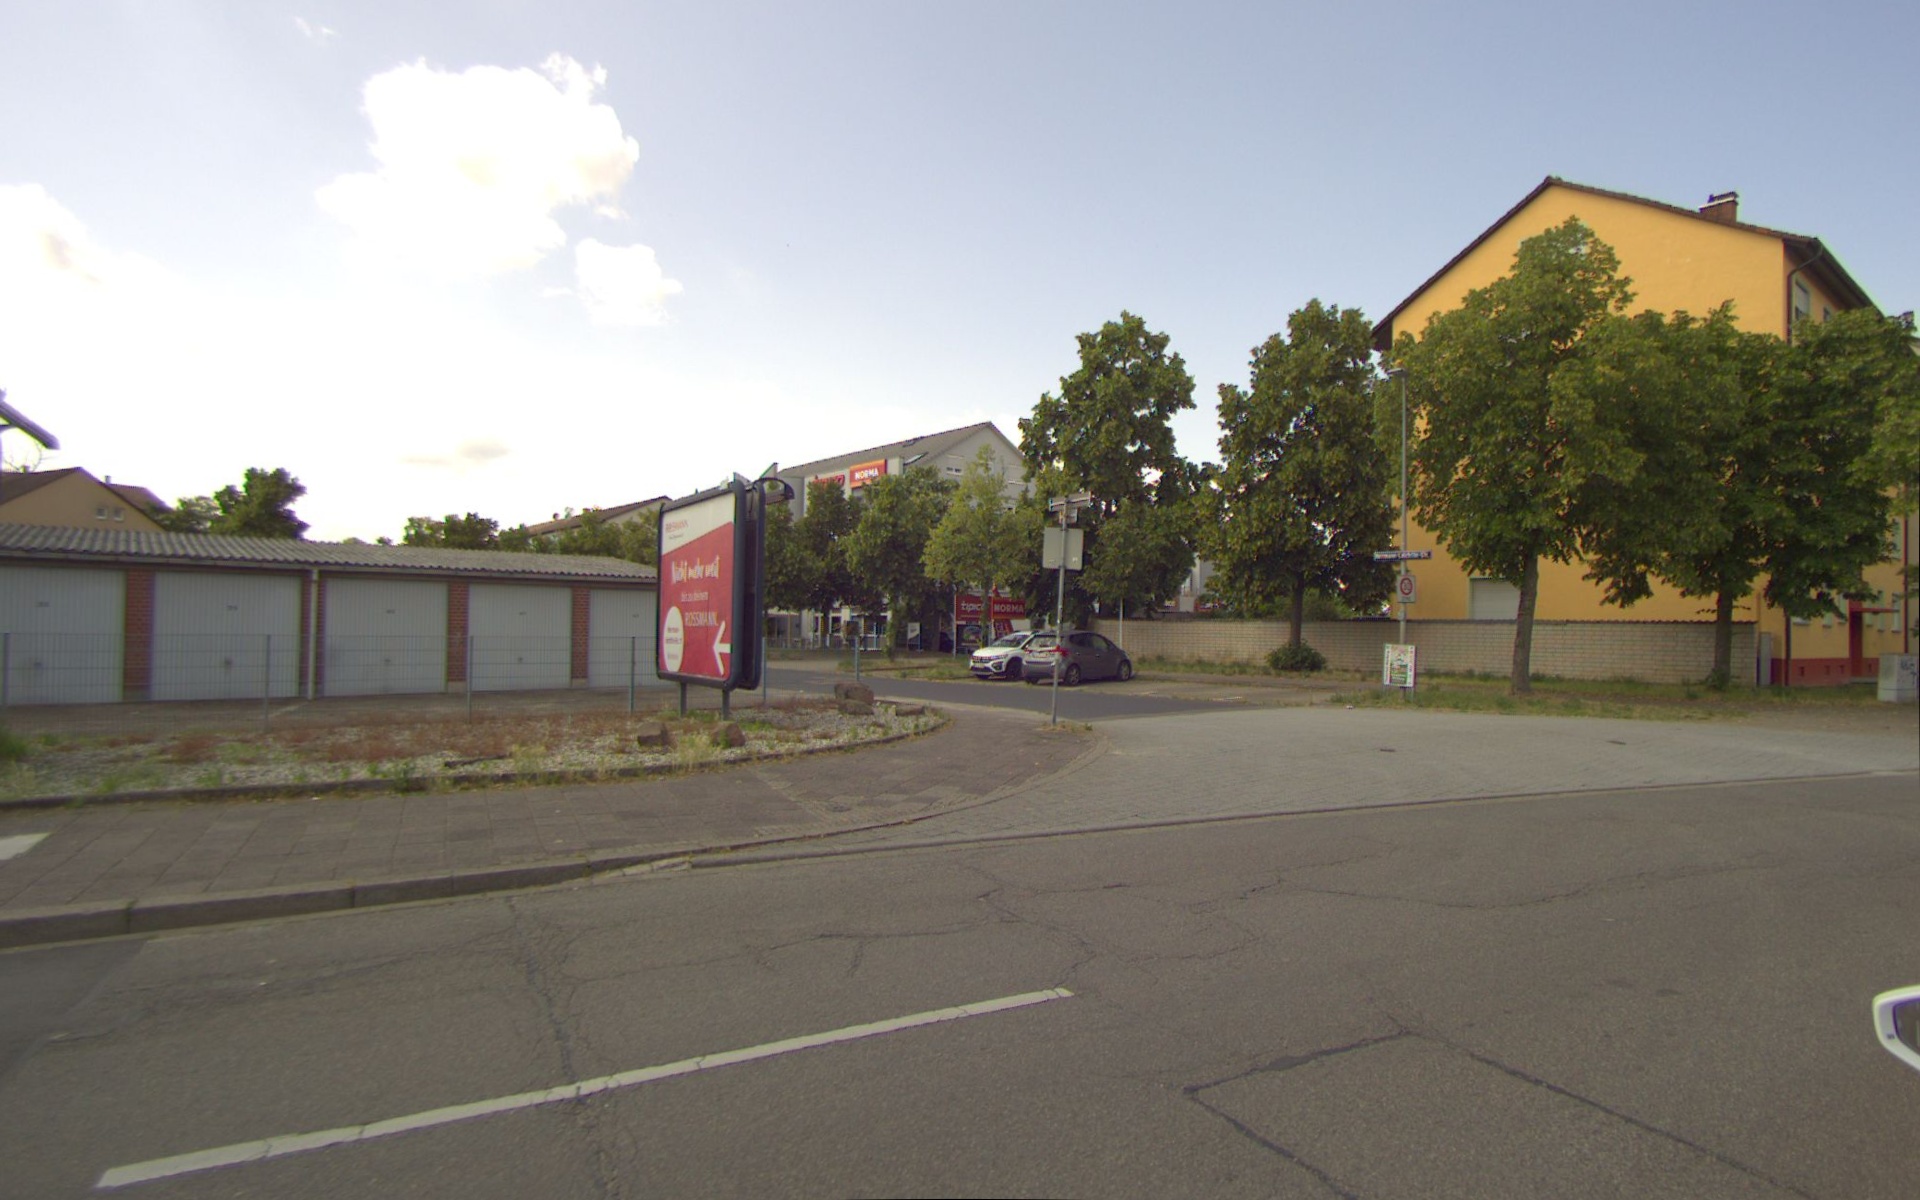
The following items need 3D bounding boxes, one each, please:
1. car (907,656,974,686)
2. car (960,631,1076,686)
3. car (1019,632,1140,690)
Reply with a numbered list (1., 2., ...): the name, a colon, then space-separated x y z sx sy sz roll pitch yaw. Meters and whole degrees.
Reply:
1. car: -1.168 4.099 58.136 3.847 1.612 1.642 -3 -2 43
2. car: 1.960 1.890 33.143 1.630 1.612 3.875 -3 -2 45
3. car: 3.722 1.818 30.809 1.630 1.558 3.875 -3 -2 45
